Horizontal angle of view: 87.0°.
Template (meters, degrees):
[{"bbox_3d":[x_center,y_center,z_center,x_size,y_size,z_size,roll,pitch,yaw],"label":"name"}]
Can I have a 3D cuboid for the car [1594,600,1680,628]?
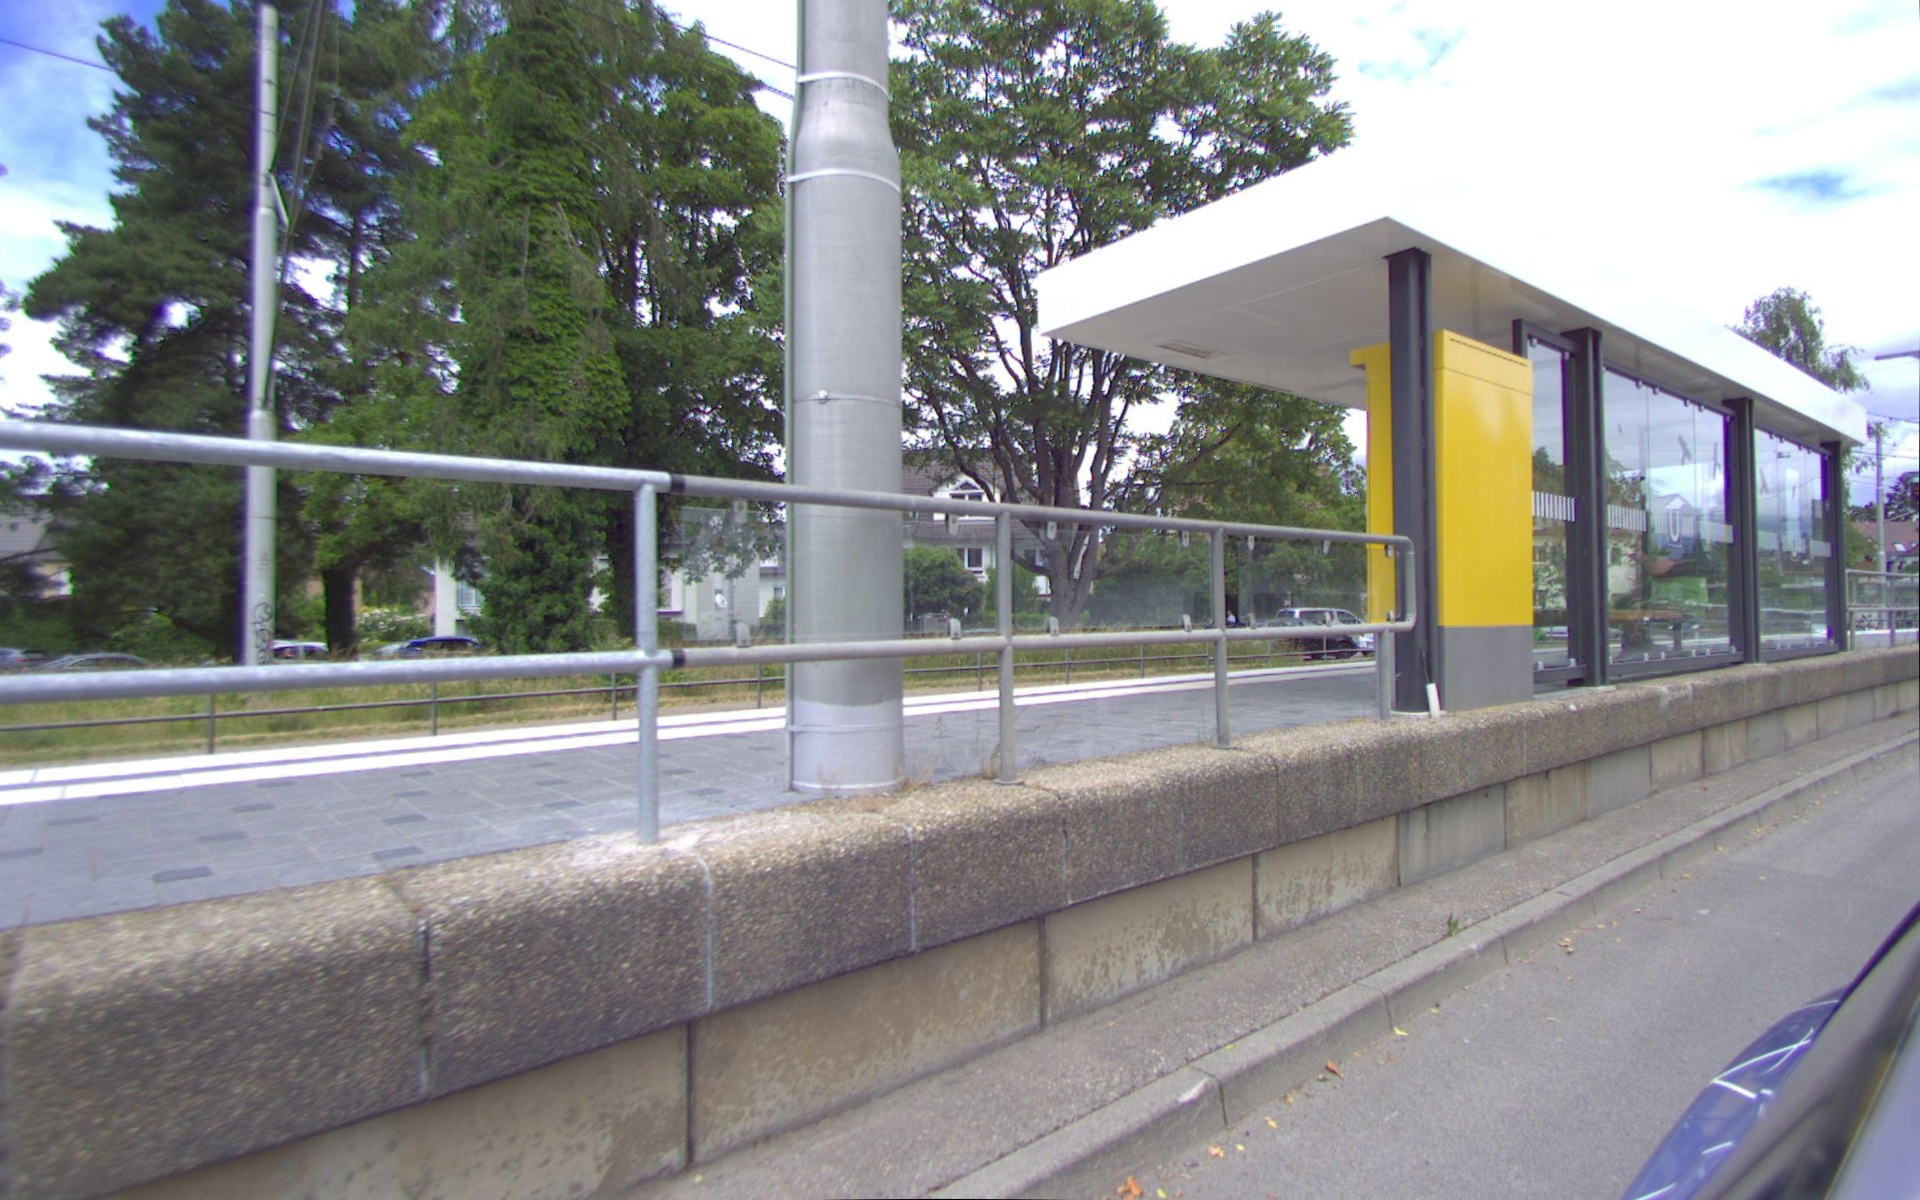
[{"bbox_3d":[38.079,0.788,56.938,3.916,1.453,2.004,-1,-1,-18],"label":"car"}]

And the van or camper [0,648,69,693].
[{"bbox_3d":[-38.491,2.834,40.472,3.983,1.672,1.999,-1,-1,1],"label":"van or camper"}]

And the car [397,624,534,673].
[{"bbox_3d":[-16.156,1.547,33.193,3.918,1.458,1.799,-1,-1,-26],"label":"car"}]

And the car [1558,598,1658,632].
[{"bbox_3d":[27.857,0.634,43.487,3.920,1.366,2.001,-1,-1,-30],"label":"car"}]

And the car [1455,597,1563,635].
[{"bbox_3d":[21.178,0.614,39.015,3.922,1.366,2.000,0,-1,-33],"label":"car"}]

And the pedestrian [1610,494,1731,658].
[{"bbox_3d":[6.072,-0.196,8.658,0.679,1.328,0.655,0,-1,-37],"label":"pedestrian"}]

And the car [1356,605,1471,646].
[{"bbox_3d":[16.480,0.913,36.745,3.922,1.366,2.000,0,-1,-33],"label":"car"}]
